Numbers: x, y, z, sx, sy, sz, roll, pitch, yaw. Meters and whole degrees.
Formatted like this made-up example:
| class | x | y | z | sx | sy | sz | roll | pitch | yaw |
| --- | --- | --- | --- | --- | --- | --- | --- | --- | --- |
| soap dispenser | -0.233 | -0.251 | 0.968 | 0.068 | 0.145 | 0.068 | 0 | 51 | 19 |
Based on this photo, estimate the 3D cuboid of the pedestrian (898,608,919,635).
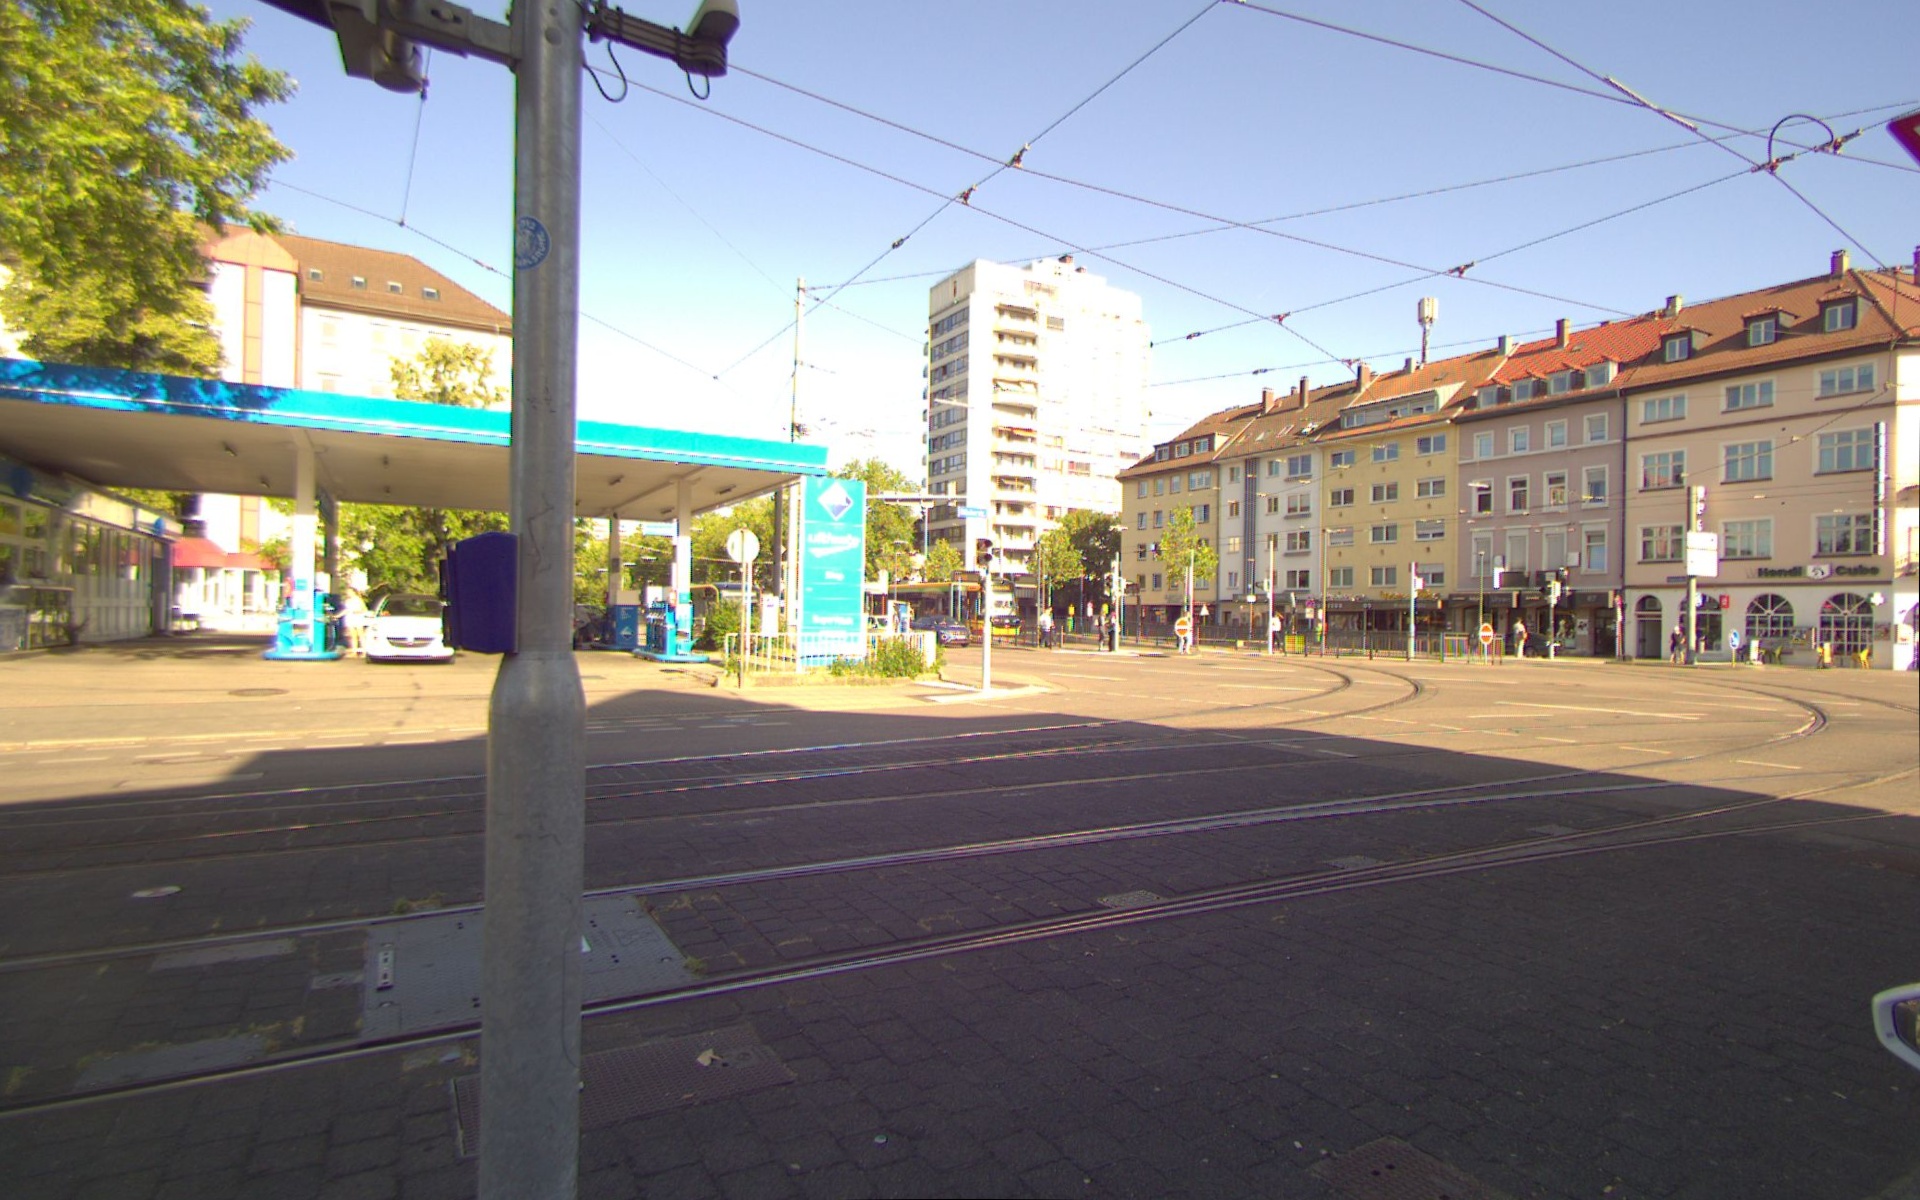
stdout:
| class | x | y | z | sx | sy | sz | roll | pitch | yaw |
| --- | --- | --- | --- | --- | --- | --- | --- | --- | --- |
| pedestrian | -3.107 | 1.296 | 60.456 | 0.902 | 1.646 | 0.887 | 1 | -1 | -33 |

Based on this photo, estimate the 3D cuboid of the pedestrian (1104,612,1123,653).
| class | x | y | z | sx | sy | sz | roll | pitch | yaw |
| --- | --- | --- | --- | --- | --- | --- | --- | --- | --- |
| pedestrian | 6.265 | 1.332 | 41.049 | 0.698 | 1.646 | 0.800 | 1 | -1 | 13 |

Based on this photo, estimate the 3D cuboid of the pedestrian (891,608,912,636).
| class | x | y | z | sx | sy | sz | roll | pitch | yaw |
| --- | --- | --- | --- | --- | --- | --- | --- | --- | --- |
| pedestrian | -3.447 | 1.301 | 59.104 | 0.902 | 1.646 | 0.887 | 1 | -1 | -33 |

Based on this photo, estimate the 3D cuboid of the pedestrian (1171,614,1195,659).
| class | x | y | z | sx | sy | sz | roll | pitch | yaw |
| --- | --- | --- | --- | --- | --- | --- | --- | --- | --- |
| pedestrian | 8.587 | 1.405 | 38.660 | 0.732 | 1.721 | 0.555 | 1 | -1 | -6 |

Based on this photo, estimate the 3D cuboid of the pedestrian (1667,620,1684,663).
| class | x | y | z | sx | sy | sz | roll | pitch | yaw |
| --- | --- | --- | --- | --- | --- | --- | --- | --- | --- |
| pedestrian | 34.210 | 1.986 | 48.022 | 0.498 | 2.040 | 0.507 | 1 | -1 | -27 |

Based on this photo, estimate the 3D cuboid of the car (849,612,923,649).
| class | x | y | z | sx | sy | sz | roll | pitch | yaw |
| --- | --- | --- | --- | --- | --- | --- | --- | --- | --- |
| car | -3.507 | 1.393 | 46.810 | 1.976 | 1.615 | 3.970 | 1 | -1 | -29 |

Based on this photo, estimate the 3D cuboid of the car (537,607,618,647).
| class | x | y | z | sx | sy | sz | roll | pitch | yaw |
| --- | --- | --- | --- | --- | --- | --- | --- | --- | --- |
| car | -17.204 | 1.210 | 45.388 | 1.960 | 1.685 | 4.001 | 1 | -1 | 2 |

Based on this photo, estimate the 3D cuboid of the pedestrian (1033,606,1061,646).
| class | x | y | z | sx | sy | sz | roll | pitch | yaw |
| --- | --- | --- | --- | --- | --- | --- | --- | --- | --- |
| pedestrian | 4.017 | 1.205 | 46.504 | 0.902 | 1.826 | 0.887 | 1 | -1 | -33 |

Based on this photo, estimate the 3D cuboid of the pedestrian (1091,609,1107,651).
| class | x | y | z | sx | sy | sz | roll | pitch | yaw |
| --- | --- | --- | --- | --- | --- | --- | --- | --- | --- |
| pedestrian | 5.824 | 1.261 | 42.151 | 0.487 | 1.721 | 0.557 | 0 | -1 | 31 |

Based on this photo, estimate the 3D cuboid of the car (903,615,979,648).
| class | x | y | z | sx | sy | sz | roll | pitch | yaw |
| --- | --- | --- | --- | --- | --- | --- | --- | --- | --- |
| car | -0.959 | 1.492 | 48.352 | 1.937 | 1.475 | 4.077 | 1 | 0 | -30 |

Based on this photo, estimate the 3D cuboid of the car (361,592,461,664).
| class | x | y | z | sx | sy | sz | roll | pitch | yaw |
| --- | --- | --- | --- | --- | --- | --- | --- | --- | --- |
| car | -12.274 | 0.604 | 22.438 | 1.773 | 1.461 | 3.968 | 2 | -1 | -30 |

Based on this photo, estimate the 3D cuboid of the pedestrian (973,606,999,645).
| class | x | y | z | sx | sy | sz | roll | pitch | yaw |
| --- | --- | --- | --- | --- | --- | --- | --- | --- | --- |
| pedestrian | 1.240 | 1.222 | 48.371 | 0.902 | 1.826 | 0.887 | 1 | -1 | -33 |

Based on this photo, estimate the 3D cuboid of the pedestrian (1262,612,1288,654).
| class | x | y | z | sx | sy | sz | roll | pitch | yaw |
| --- | --- | --- | --- | --- | --- | --- | --- | --- | --- |
| pedestrian | 12.995 | 1.363 | 41.457 | 0.689 | 1.721 | 0.777 | 1 | -1 | -26 |

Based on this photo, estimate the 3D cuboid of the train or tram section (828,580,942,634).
| class | x | y | z | sx | sy | sz | roll | pitch | yaw |
| --- | --- | --- | --- | --- | --- | --- | --- | --- | --- |
| train or tram section | -5.250 | 0.521 | 67.586 | 3.252 | 3.335 | 10.157 | 1 | -1 | -33 |

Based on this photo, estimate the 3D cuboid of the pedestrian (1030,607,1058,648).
| class | x | y | z | sx | sy | sz | roll | pitch | yaw |
| --- | --- | --- | --- | --- | --- | --- | --- | --- | --- |
| pedestrian | 3.812 | 1.246 | 45.441 | 0.902 | 1.826 | 0.887 | 1 | -1 | -33 |

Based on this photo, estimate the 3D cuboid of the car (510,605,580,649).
| class | x | y | z | sx | sy | sz | roll | pitch | yaw |
| --- | --- | --- | --- | --- | --- | --- | --- | --- | --- |
| car | -13.503 | 0.862 | 32.582 | 1.752 | 1.332 | 3.520 | 1 | -1 | -28 |

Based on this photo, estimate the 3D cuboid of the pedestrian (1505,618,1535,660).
| class | x | y | z | sx | sy | sz | roll | pitch | yaw |
| --- | --- | --- | --- | --- | --- | --- | --- | --- | --- |
| pedestrian | 24.495 | 1.697 | 43.957 | 0.801 | 1.842 | 0.871 | 1 | -1 | -29 |

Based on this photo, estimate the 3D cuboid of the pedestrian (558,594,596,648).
| class | x | y | z | sx | sy | sz | roll | pitch | yaw |
| --- | --- | --- | --- | --- | --- | --- | --- | --- | --- |
| pedestrian | -13.095 | 0.718 | 34.359 | 0.893 | 1.826 | 0.896 | 1 | -1 | 6 |

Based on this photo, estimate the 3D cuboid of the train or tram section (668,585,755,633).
| class | x | y | z | sx | sy | sz | roll | pitch | yaw |
| --- | --- | --- | --- | --- | --- | --- | --- | --- | --- |
| train or tram section | -15.030 | 0.451 | 60.044 | 2.233 | 2.627 | 10.398 | 2 | 0 | -30 |

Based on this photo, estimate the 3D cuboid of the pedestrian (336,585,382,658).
| class | x | y | z | sx | sy | sz | roll | pitch | yaw |
| --- | --- | --- | --- | --- | --- | --- | --- | --- | --- |
| pedestrian | -13.903 | 0.502 | 23.240 | 0.801 | 1.652 | 0.643 | 1 | -1 | -24 |

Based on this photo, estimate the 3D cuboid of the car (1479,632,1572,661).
| class | x | y | z | sx | sy | sz | roll | pitch | yaw |
| --- | --- | --- | --- | --- | --- | --- | --- | --- | --- |
| car | 30.775 | 2.499 | 54.716 | 1.980 | 1.483 | 3.962 | 1 | -1 | -34 |

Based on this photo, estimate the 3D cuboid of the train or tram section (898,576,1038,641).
| class | x | y | z | sx | sy | sz | roll | pitch | yaw |
| --- | --- | --- | --- | --- | --- | --- | --- | --- | --- |
| train or tram section | 0.230 | 0.518 | 58.967 | 3.252 | 3.459 | 10.157 | 1 | -1 | -33 |
